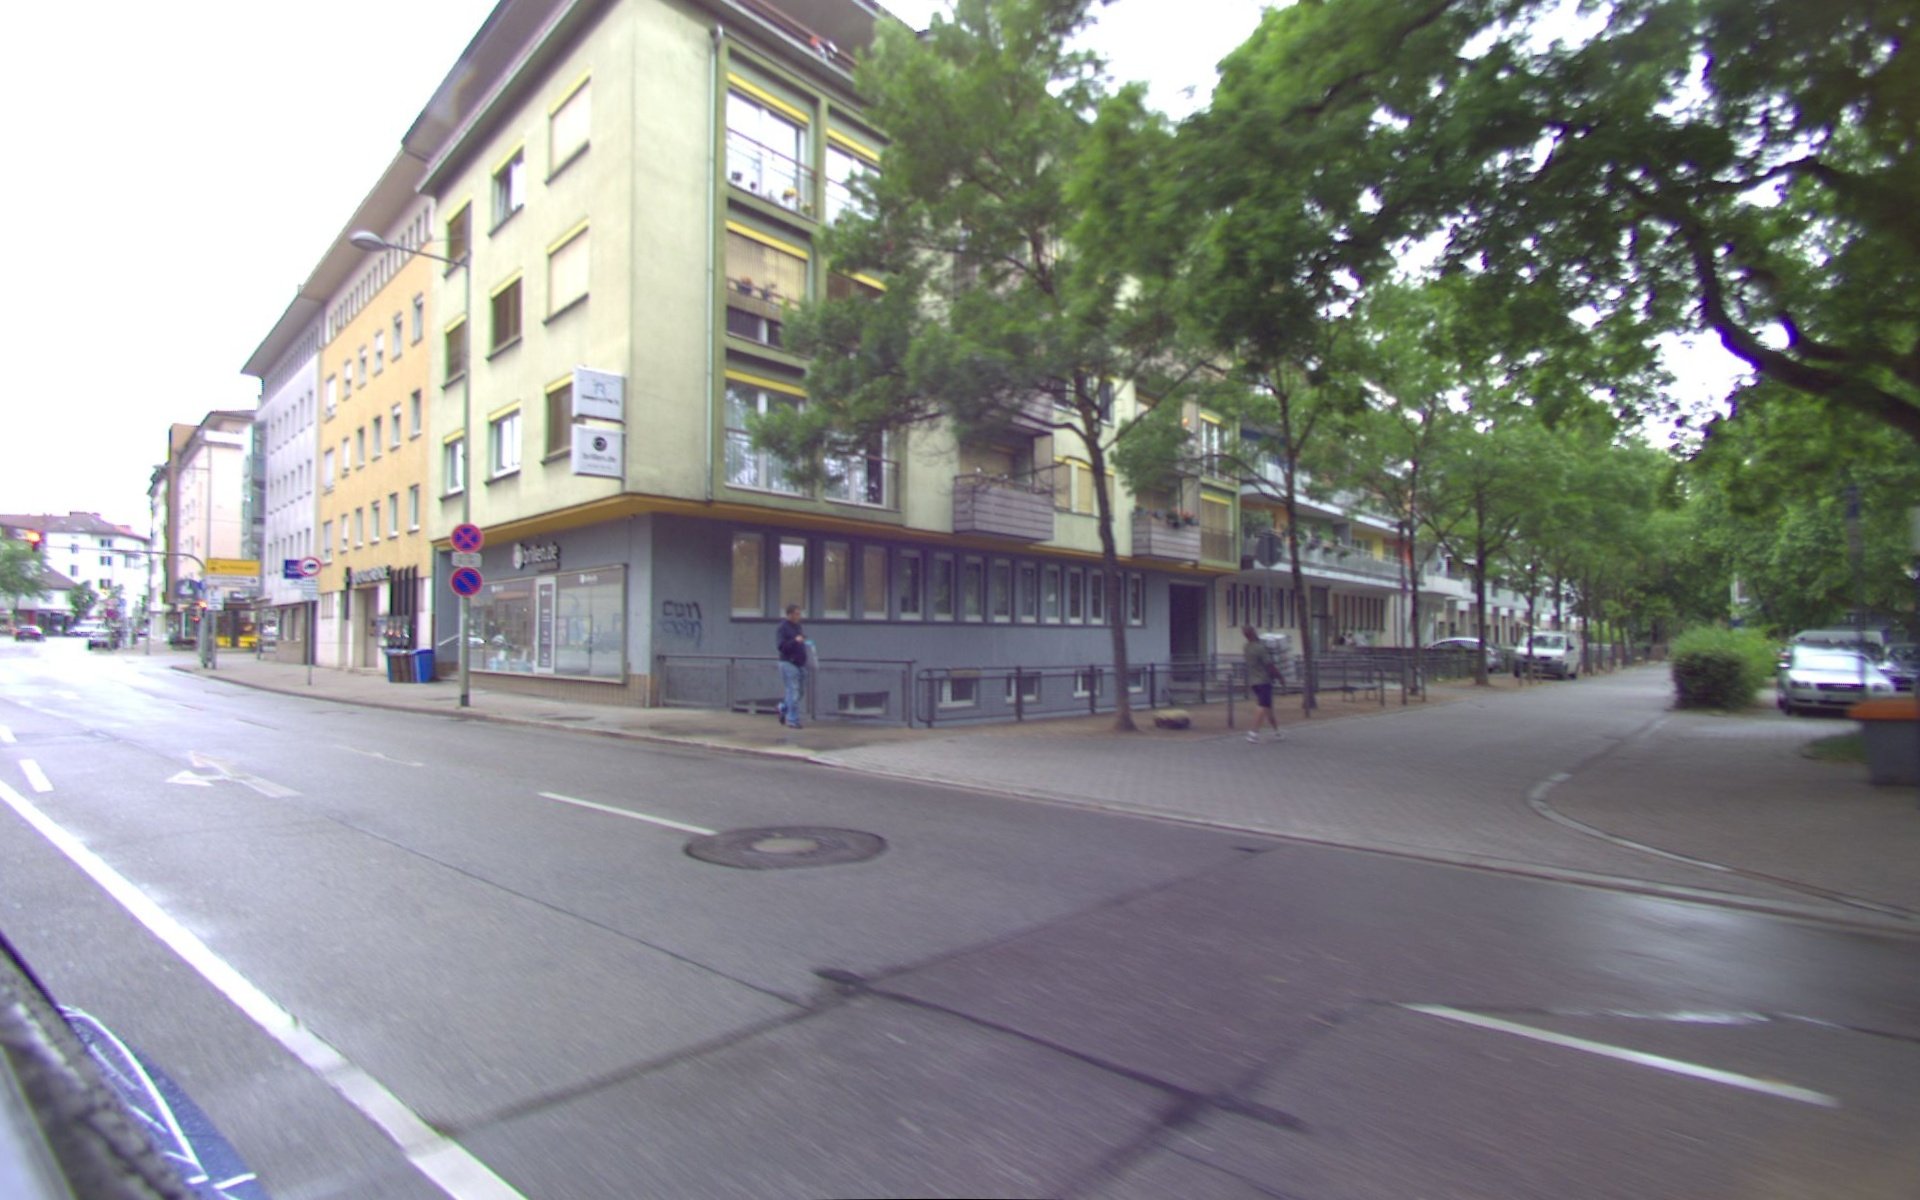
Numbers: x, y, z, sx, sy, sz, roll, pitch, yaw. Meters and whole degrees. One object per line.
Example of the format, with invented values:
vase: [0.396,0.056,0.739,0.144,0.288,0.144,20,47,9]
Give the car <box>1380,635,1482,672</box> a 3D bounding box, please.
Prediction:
car: [21.994,2.473,47.328,3.998,1.608,1.757,-1,-2,41]

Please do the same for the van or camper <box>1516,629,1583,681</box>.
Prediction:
van or camper: [24.928,2.296,42.740,1.825,2.029,4.577,1,-2,38]

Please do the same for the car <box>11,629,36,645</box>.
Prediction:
car: [-90.716,3.584,98.072,1.723,1.608,4.005,2,-3,-42]

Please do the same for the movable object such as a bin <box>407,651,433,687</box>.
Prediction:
movable object such as a bin: [-15.397,1.950,28.877,0.522,0.968,0.435,-3,1,-42]

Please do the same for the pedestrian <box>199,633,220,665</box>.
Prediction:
pedestrian: [-38.605,2.513,52.058,0.773,1.600,0.675,-1,-1,-29]

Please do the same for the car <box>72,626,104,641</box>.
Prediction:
car: [-112.930,4.353,131.149,1.984,1.778,4.777,2,-3,-26]

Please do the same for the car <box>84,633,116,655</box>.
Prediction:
car: [-67.831,3.446,79.875,1.807,1.634,4.007,2,-3,-39]

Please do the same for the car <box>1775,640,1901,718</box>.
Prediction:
car: [18.628,1.600,21.536,1.863,1.475,3.593,-2,-3,41]

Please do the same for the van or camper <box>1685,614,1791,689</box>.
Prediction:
van or camper: [28.266,1.795,36.614,2.561,2.420,8.535,-2,-3,41]

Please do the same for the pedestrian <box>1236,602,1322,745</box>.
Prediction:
pedestrian: [4.534,1.018,14.381,0.906,1.939,0.820,2,-3,-44]

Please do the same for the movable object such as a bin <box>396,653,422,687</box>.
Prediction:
movable object such as a bin: [-15.866,2.004,29.129,0.522,0.902,0.435,-4,1,-42]

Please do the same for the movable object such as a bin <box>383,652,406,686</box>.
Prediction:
movable object such as a bin: [-16.623,2.029,29.736,0.458,0.935,0.429,-3,1,-42]

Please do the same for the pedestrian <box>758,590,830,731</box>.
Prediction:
pedestrian: [-2.471,0.885,15.057,0.741,2.029,0.783,2,-3,-43]

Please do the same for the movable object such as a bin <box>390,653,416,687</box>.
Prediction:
movable object such as a bin: [-16.208,2.022,29.437,0.521,0.935,0.426,-3,1,-42]

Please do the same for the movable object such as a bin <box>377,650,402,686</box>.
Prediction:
movable object such as a bin: [-17.103,2.040,30.322,0.510,1.008,0.524,-3,1,-42]
